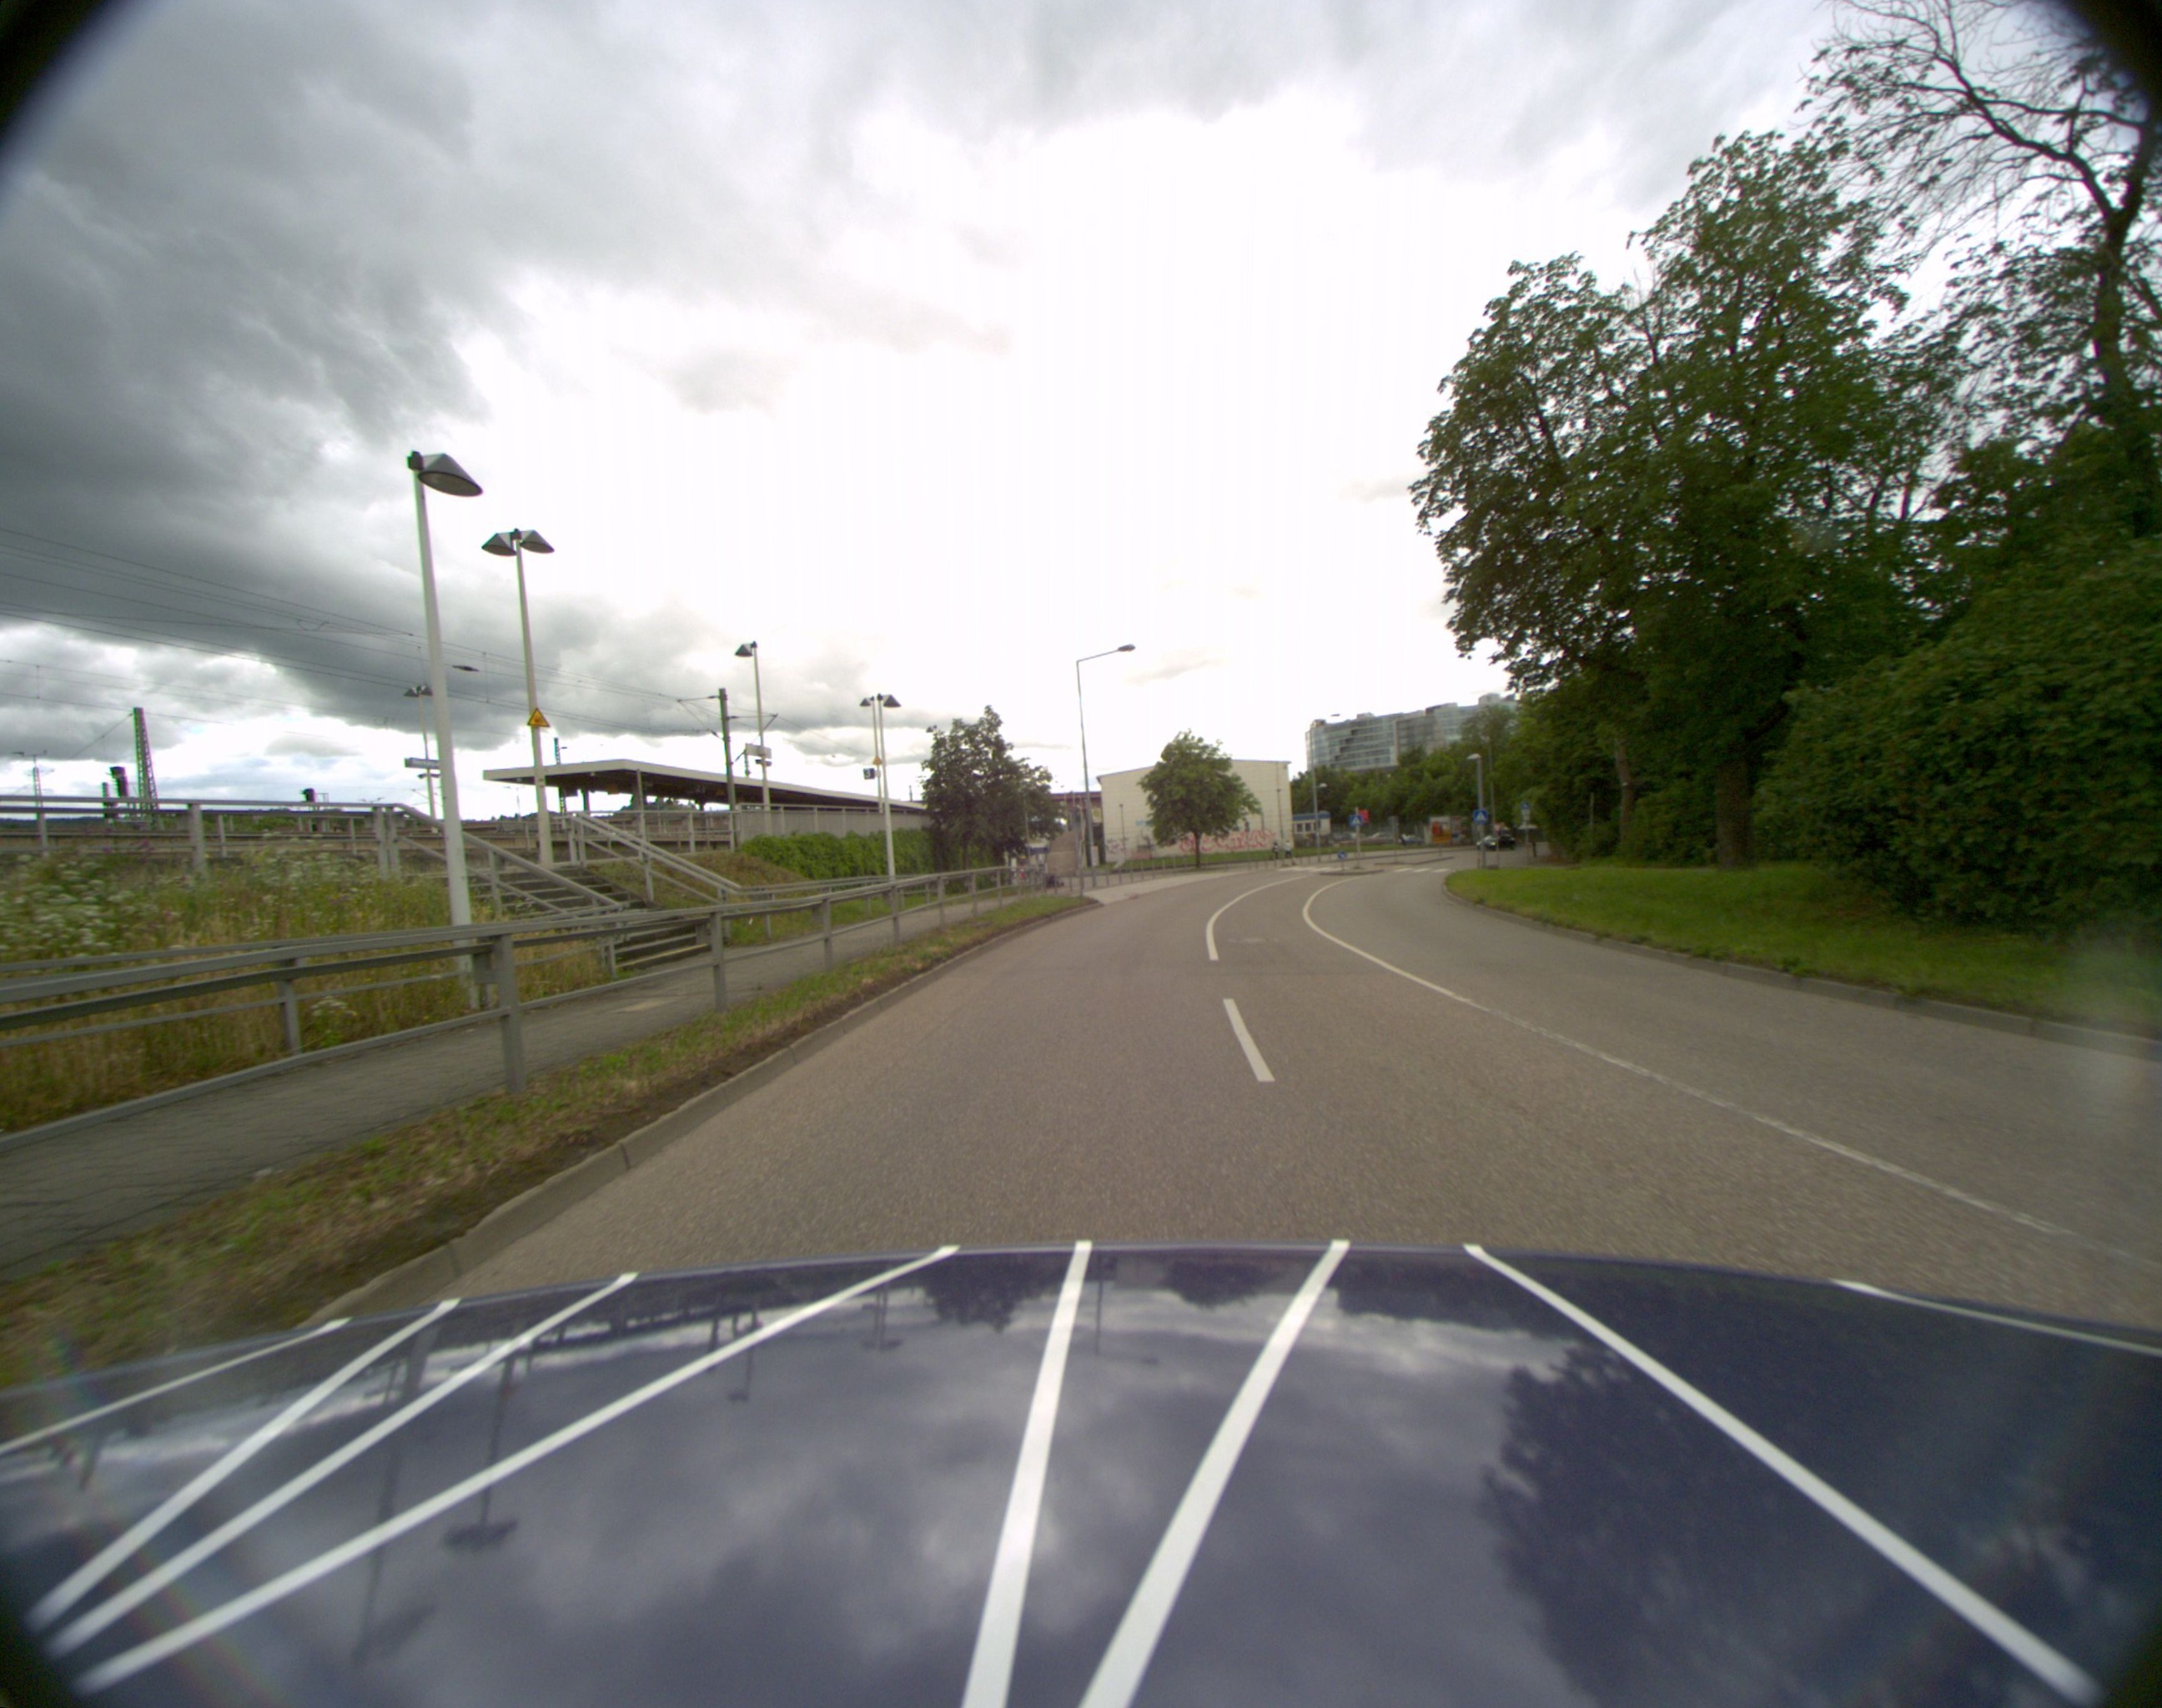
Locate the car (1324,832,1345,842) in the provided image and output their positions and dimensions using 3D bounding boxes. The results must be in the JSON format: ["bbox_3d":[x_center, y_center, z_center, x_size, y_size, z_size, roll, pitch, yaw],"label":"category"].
[{"bbox_3d":[36.799,-2.502,110.239,1.530,1.324,3.681,-2,1,-5],"label":"car"}]

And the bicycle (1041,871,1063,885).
[{"bbox_3d":[-1.975,1.616,51.661,1.576,0.849,0.464,-6,-1,43],"label":"bicycle"}]

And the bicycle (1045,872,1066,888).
[{"bbox_3d":[-1.711,1.732,50.305,0.695,0.983,1.489,-4,-1,-32],"label":"bicycle"}]

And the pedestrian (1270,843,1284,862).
[{"bbox_3d":[16.985,-0.150,65.722,0.802,1.574,0.801,-5,2,-10],"label":"pedestrian"}]

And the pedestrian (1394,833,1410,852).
[{"bbox_3d":[29.941,-1.106,70.879,0.940,1.675,0.849,-5,3,-14],"label":"pedestrian"}]

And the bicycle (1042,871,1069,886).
[{"bbox_3d":[-1.784,1.695,52.637,1.968,0.860,0.512,-7,-2,40],"label":"bicycle"}]

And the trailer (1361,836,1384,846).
[{"bbox_3d":[35.546,-1.628,92.742,1.847,1.131,2.639,-3,1,4],"label":"trailer"}]

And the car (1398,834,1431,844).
[{"bbox_3d":[40.649,-1.855,92.736,3.368,1.245,1.470,0,3,-1],"label":"car"}]

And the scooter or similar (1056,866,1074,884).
[{"bbox_3d":[-1.152,1.474,53.970,1.188,1.199,0.469,-6,0,43],"label":"scooter or similar"}]

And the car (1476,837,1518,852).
[{"bbox_3d":[37.242,-0.845,68.072,3.374,1.245,1.468,-1,3,-22],"label":"car"}]

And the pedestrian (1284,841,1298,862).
[{"bbox_3d":[18.059,-0.239,65.253,0.749,1.693,0.816,-5,2,-10],"label":"pedestrian"}]

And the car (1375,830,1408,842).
[{"bbox_3d":[40.956,-2.359,100.280,3.808,1.523,1.564,-1,3,-1],"label":"car"}]
